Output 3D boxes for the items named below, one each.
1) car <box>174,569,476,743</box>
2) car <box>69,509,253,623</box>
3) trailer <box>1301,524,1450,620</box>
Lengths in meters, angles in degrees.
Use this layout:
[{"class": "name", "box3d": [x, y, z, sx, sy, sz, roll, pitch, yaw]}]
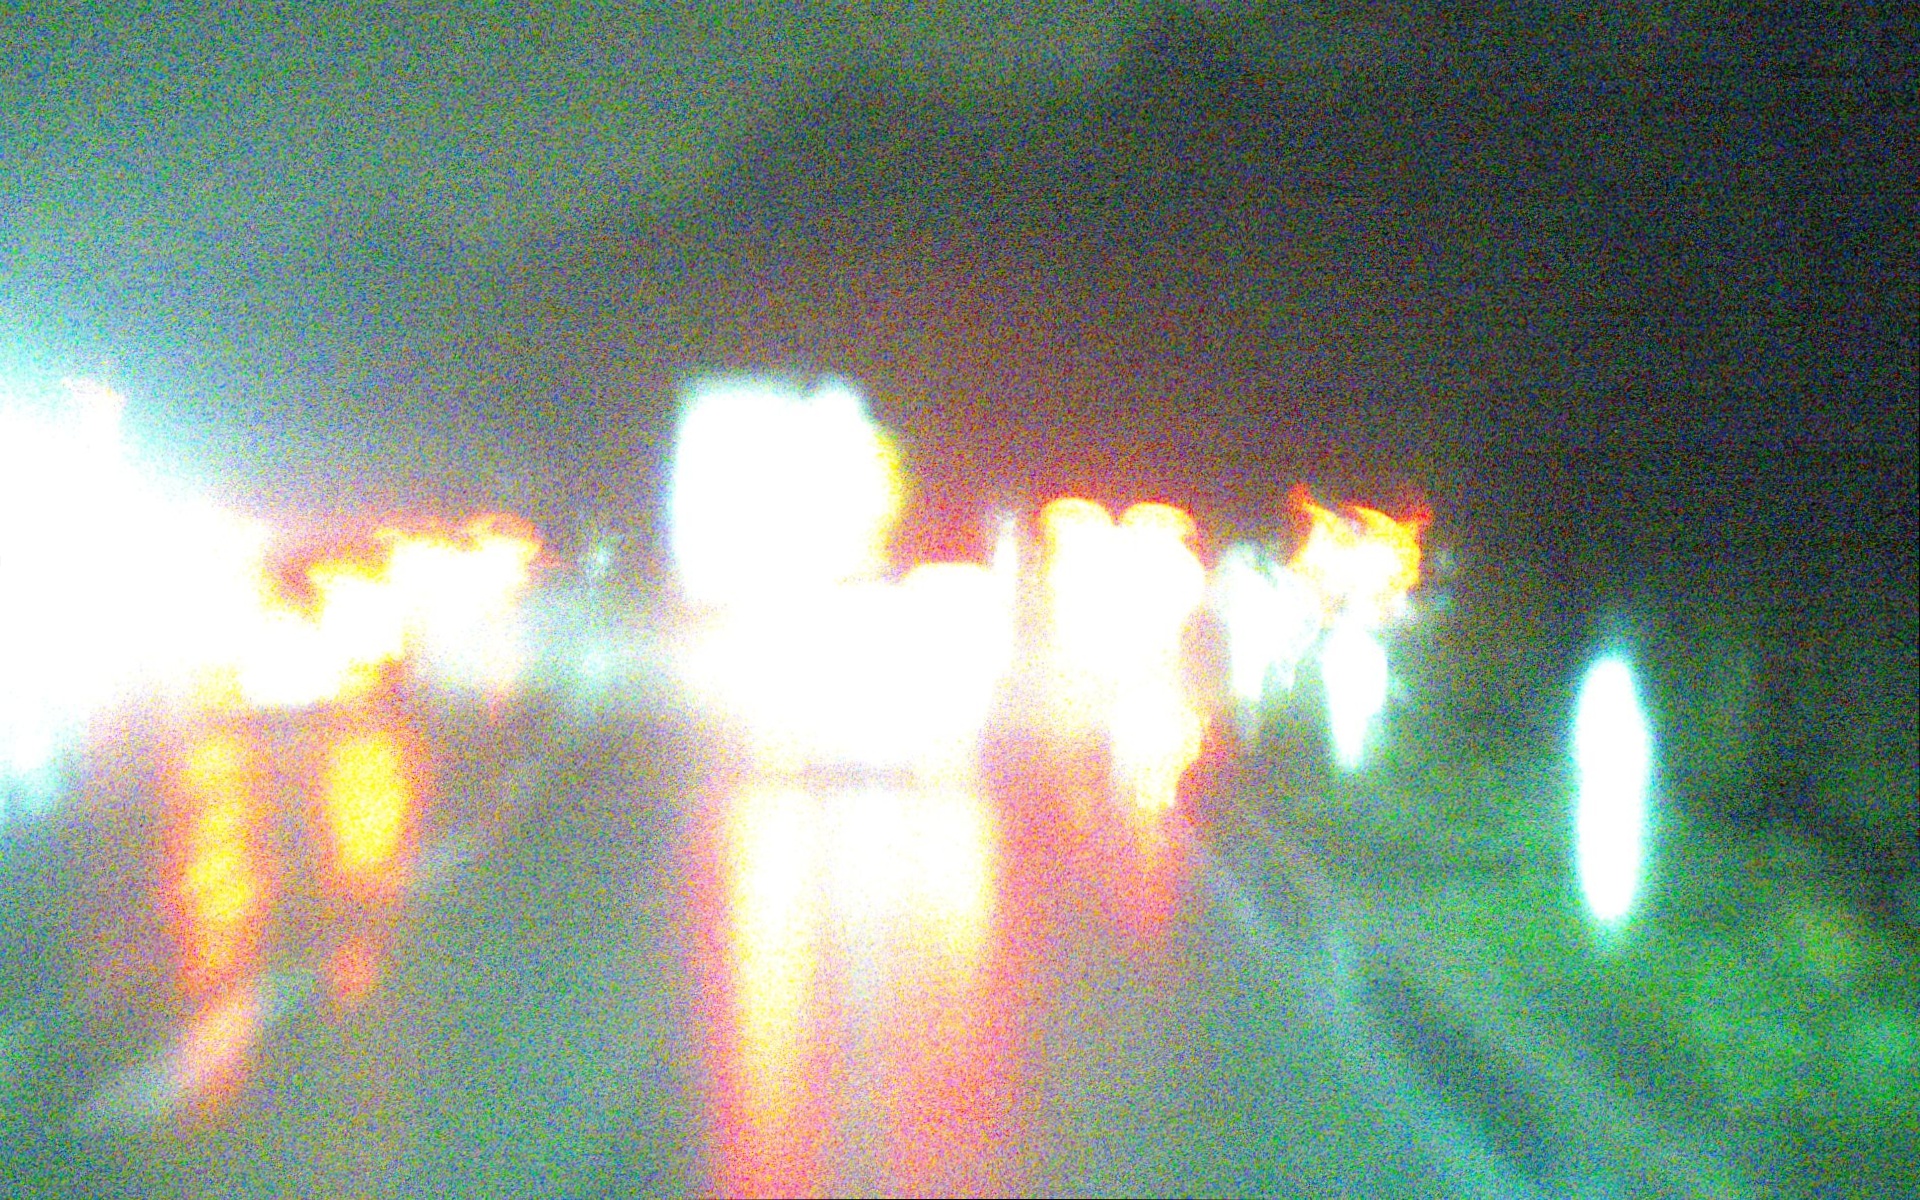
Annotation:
[{"class": "car", "box3d": [-5.405, 0.446, 29.749, 1.962, 1.376, 4.049, 1, 0, -2]}, {"class": "car", "box3d": [-11.131, -0.486, 48.200, 1.767, 1.512, 4.915, 0, 1, -4]}, {"class": "trailer", "box3d": [9.443, -0.609, 77.227, 2.079, 2.007, 10.641, 0, 0, 14]}]
